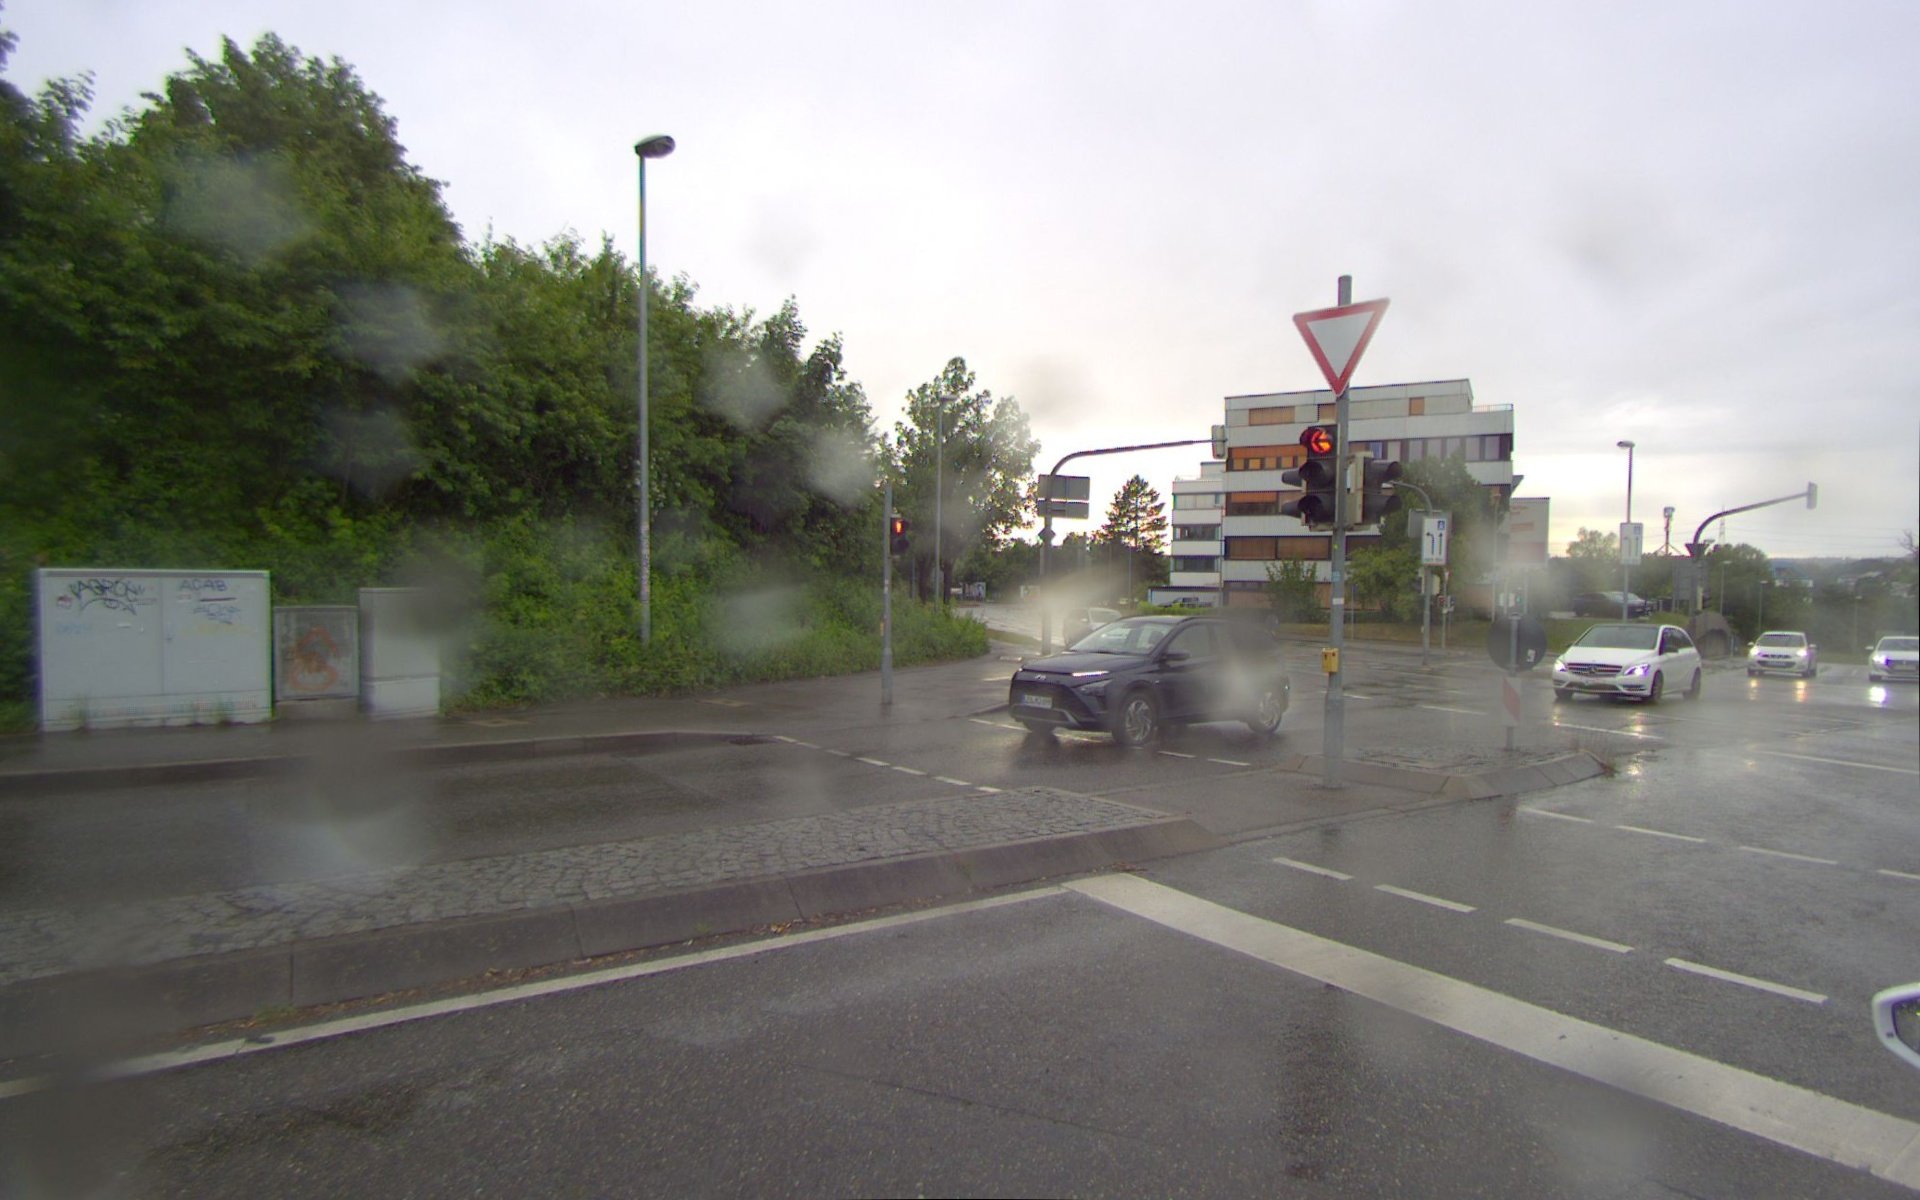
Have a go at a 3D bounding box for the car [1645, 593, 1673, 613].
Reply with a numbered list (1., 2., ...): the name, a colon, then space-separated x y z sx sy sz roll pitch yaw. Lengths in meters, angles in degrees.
1. car: 60.319 0.265 86.759 1.802 1.461 3.990 3 -1 33

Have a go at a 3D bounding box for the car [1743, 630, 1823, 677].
1. car: 28.824 1.825 35.145 3.793 1.525 1.606 1 -1 -42

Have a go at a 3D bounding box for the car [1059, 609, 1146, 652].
1. car: 5.088 1.066 36.522 1.731 1.381 4.523 2 0 -11

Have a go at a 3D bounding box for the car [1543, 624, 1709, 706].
1. car: 13.841 1.288 20.800 4.285 1.524 1.651 2 -2 -39

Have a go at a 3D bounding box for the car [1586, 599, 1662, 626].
1. car: 44.676 0.804 67.692 1.872 1.607 3.985 4 0 -17

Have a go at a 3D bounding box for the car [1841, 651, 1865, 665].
1. car: 107.118 6.967 120.509 3.969 1.514 1.647 3 -1 -41

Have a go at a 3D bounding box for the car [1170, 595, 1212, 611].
1. car: 22.184 0.258 96.358 3.686 1.418 2.000 1 1 19

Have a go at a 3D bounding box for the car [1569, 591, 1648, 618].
1. car: 42.433 0.294 65.797 1.874 1.607 3.981 4 0 -21

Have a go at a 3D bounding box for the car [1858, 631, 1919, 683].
1. car: 30.258 1.794 32.303 1.846 1.528 3.956 2 0 45

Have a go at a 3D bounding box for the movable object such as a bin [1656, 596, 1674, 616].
1. movable object such as a bin: 55.723 0.489 79.375 1.069 1.456 1.443 3 0 34

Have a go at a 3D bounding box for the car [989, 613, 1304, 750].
1. car: 2.445 0.934 12.610 4.072 1.457 1.651 2 -2 -39
